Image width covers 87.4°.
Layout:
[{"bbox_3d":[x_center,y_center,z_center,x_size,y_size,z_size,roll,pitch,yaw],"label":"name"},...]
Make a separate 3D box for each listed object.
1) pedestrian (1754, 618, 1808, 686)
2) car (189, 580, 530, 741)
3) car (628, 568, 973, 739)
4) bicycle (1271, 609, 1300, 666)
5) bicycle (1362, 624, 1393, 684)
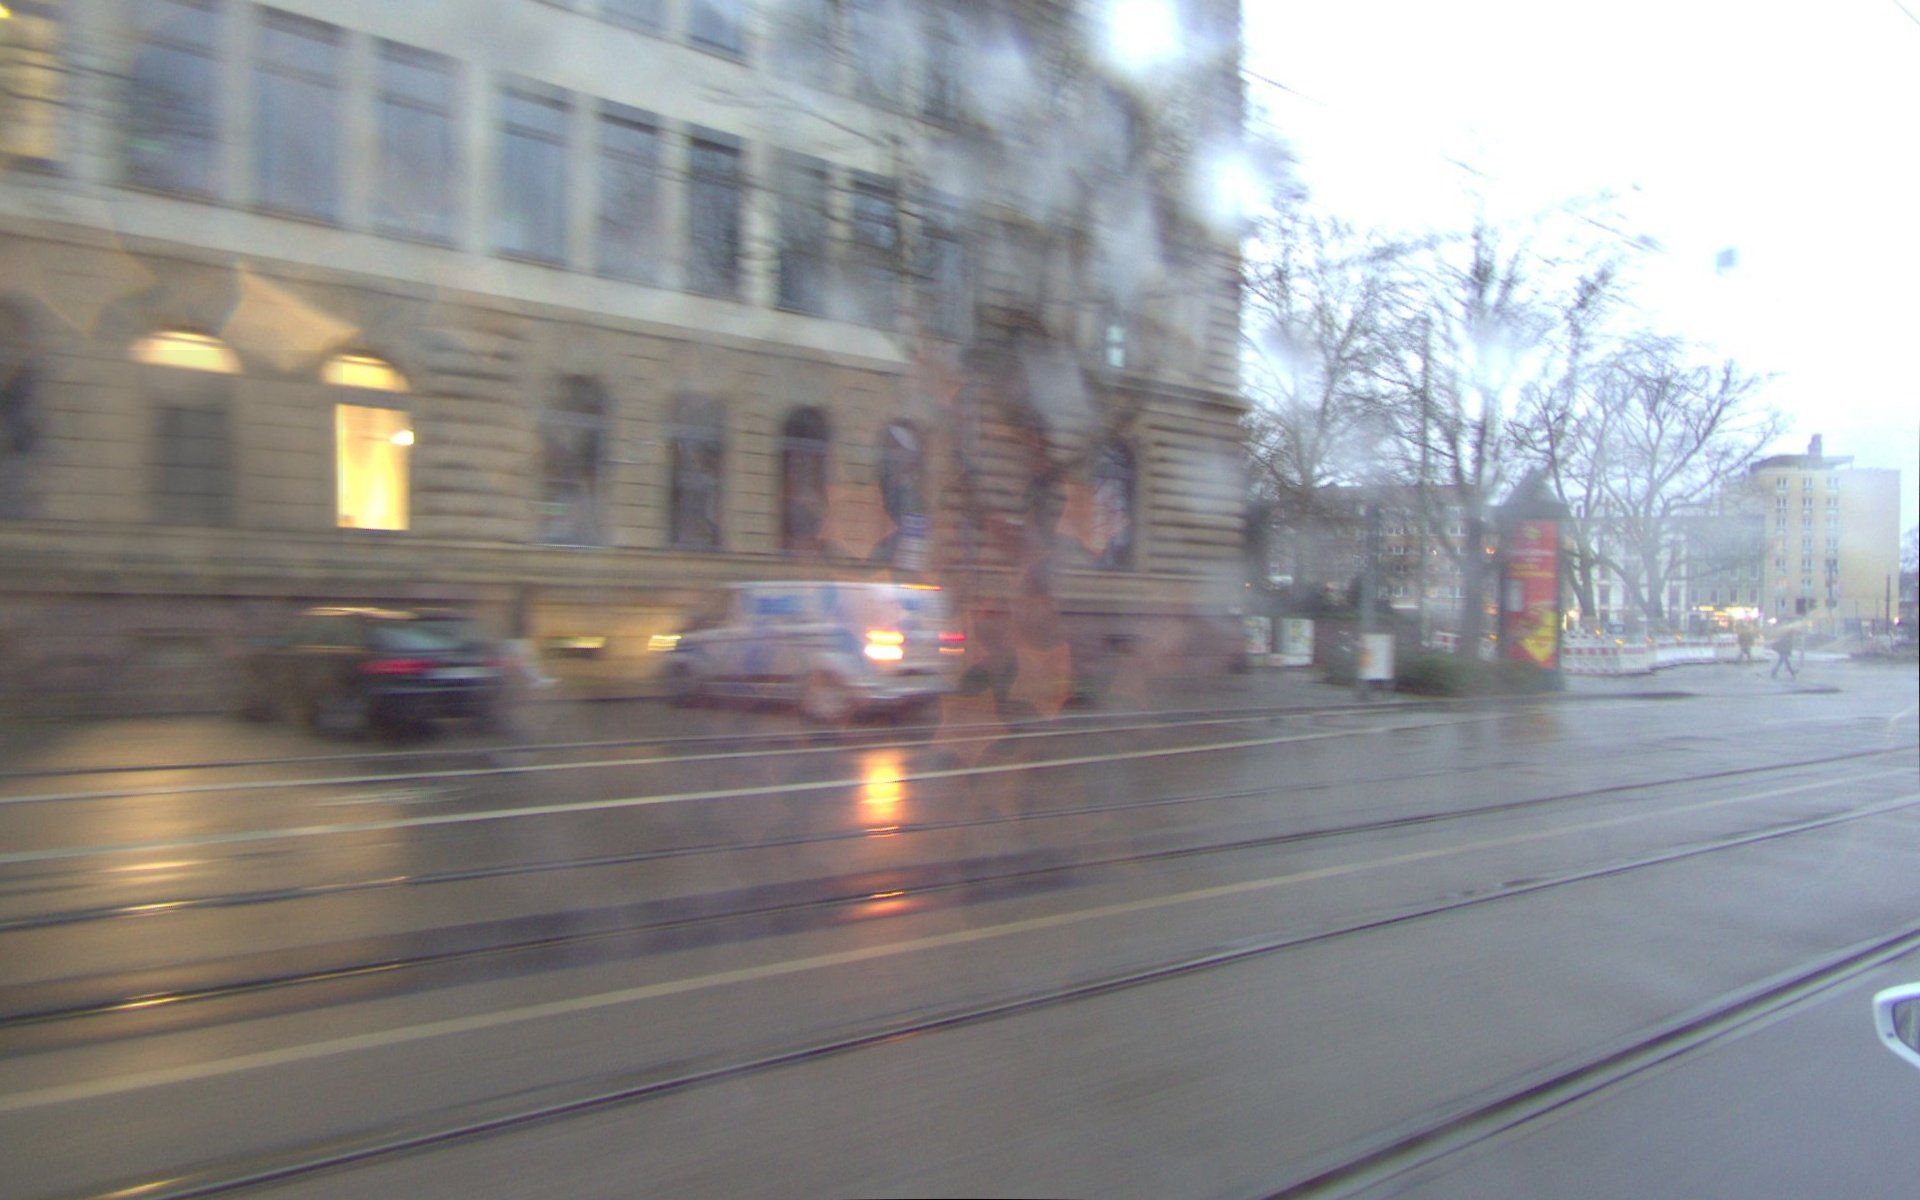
[{"bbox_3d":[30.198,1.909,36.973,1.043,2.402,0.996,3,1,0],"label":"pedestrian"},{"bbox_3d":[-7.348,0.602,12.157,4.401,1.477,1.795,3,1,33],"label":"car"},{"bbox_3d":[-2.379,0.680,14.972,4.711,2.061,1.912,3,1,22],"label":"car"},{"bbox_3d":[10.403,1.161,32.071,0.699,1.711,2.429,3,1,20],"label":"bicycle"},{"bbox_3d":[13.059,1.646,31.461,0.699,1.711,2.429,3,1,20],"label":"bicycle"}]
